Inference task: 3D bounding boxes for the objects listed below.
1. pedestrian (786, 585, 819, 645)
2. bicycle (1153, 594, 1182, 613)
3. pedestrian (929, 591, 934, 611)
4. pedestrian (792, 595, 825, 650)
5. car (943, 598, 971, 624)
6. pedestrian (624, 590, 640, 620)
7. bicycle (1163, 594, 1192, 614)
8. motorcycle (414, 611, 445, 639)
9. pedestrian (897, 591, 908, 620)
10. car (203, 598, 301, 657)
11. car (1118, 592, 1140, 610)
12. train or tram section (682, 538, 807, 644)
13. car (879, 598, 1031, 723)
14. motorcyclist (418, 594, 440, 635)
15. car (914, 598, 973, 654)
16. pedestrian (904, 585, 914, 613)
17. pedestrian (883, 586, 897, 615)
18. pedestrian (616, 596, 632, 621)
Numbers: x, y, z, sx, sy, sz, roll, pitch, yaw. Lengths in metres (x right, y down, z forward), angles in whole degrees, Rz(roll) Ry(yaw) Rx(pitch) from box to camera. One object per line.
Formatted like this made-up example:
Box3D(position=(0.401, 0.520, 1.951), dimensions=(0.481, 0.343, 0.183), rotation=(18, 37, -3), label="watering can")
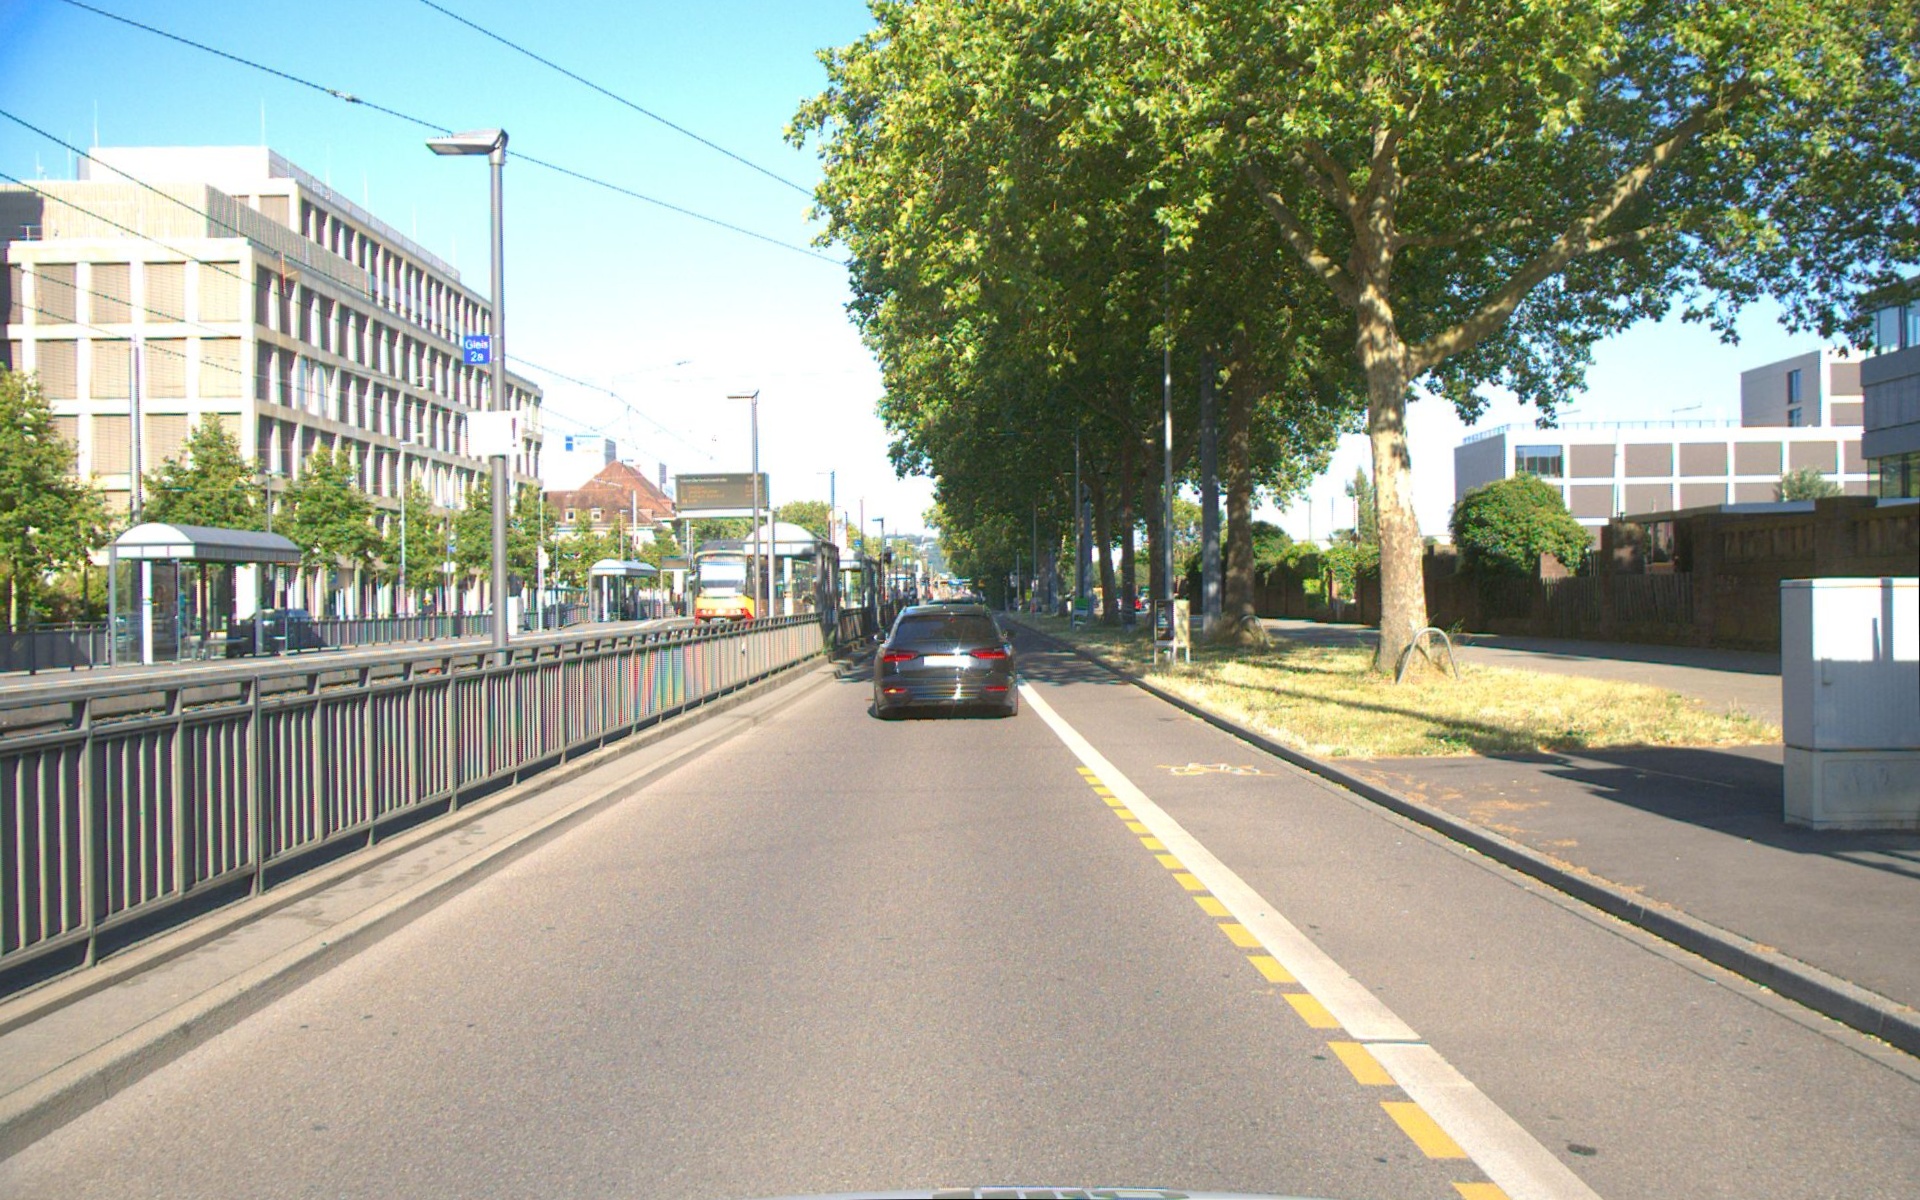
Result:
Box3D(position=(-4.104, 0.385, 43.143), dimensions=(0.730, 1.535, 0.666), rotation=(-1, 0, 2), label="pedestrian")
Box3D(position=(13.166, 0.243, 104.950), dimensions=(1.737, 1.140, 0.439), rotation=(-2, 0, -1), label="bicycle")
Box3D(position=(-2.540, 0.096, 145.249), dimensions=(0.403, 1.747, 0.665), rotation=(-1, 0, 0), label="pedestrian")
Box3D(position=(-3.661, 0.537, 39.957), dimensions=(0.726, 1.296, 0.524), rotation=(-1, 0, -1), label="pedestrian")
Box3D(position=(-0.218, 0.725, 110.499), dimensions=(1.727, 1.647, 3.998), rotation=(-1, 0, -2), label="car")
Box3D(position=(-17.271, 0.278, 87.070), dimensions=(0.601, 1.554, 0.725), rotation=(-1, 0, 8), label="pedestrian")
Box3D(position=(12.989, 0.260, 98.668), dimensions=(1.653, 1.140, 0.439), rotation=(-2, 0, -1), label="bicycle")
Box3D(position=(-20.929, 0.974, 65.325), dimensions=(0.592, 1.039, 1.841), rotation=(-1, 0, 1), label="motorcycle")
Box3D(position=(-3.313, 0.313, 95.523), dimensions=(0.599, 1.698, 0.613), rotation=(-1, 0, 2), label="pedestrian")
Box3D(position=(-25.780, 0.965, 60.373), dimensions=(1.953, 2.049, 3.998), rotation=(-1, 0, -2), label="car")
Box3D(position=(15.120, 0.113, 147.951), dimensions=(1.581, 1.542, 3.803), rotation=(-1, 0, 0), label="car")
Box3D(position=(-8.647, -0.335, 68.437), dimensions=(3.241, 3.896, 14.218), rotation=(-1, 0, 0), label="train or tram section")
Box3D(position=(-0.116, 0.740, 21.884), dimensions=(1.840, 1.482, 3.355), rotation=(-1, 0, -2), label="car")
Box3D(position=(-20.927, 0.568, 65.206), dimensions=(0.563, 1.560, 0.765), rotation=(-1, 0, 1), label="motorcyclist")
Box3D(position=(-0.555, 0.787, 51.748), dimensions=(1.727, 1.647, 3.998), rotation=(-1, 0, -2), label="car")
Box3D(position=(-3.314, -0.044, 108.273), dimensions=(0.599, 1.815, 0.613), rotation=(-1, 0, 0), label="pedestrian")
Box3D(position=(-3.799, 0.021, 89.840), dimensions=(0.601, 1.576, 0.725), rotation=(-1, 0, 10), label="pedestrian")
Box3D(position=(-17.175, 0.418, 84.574), dimensions=(0.601, 1.282, 0.725), rotation=(-1, 0, 4), label="pedestrian")
